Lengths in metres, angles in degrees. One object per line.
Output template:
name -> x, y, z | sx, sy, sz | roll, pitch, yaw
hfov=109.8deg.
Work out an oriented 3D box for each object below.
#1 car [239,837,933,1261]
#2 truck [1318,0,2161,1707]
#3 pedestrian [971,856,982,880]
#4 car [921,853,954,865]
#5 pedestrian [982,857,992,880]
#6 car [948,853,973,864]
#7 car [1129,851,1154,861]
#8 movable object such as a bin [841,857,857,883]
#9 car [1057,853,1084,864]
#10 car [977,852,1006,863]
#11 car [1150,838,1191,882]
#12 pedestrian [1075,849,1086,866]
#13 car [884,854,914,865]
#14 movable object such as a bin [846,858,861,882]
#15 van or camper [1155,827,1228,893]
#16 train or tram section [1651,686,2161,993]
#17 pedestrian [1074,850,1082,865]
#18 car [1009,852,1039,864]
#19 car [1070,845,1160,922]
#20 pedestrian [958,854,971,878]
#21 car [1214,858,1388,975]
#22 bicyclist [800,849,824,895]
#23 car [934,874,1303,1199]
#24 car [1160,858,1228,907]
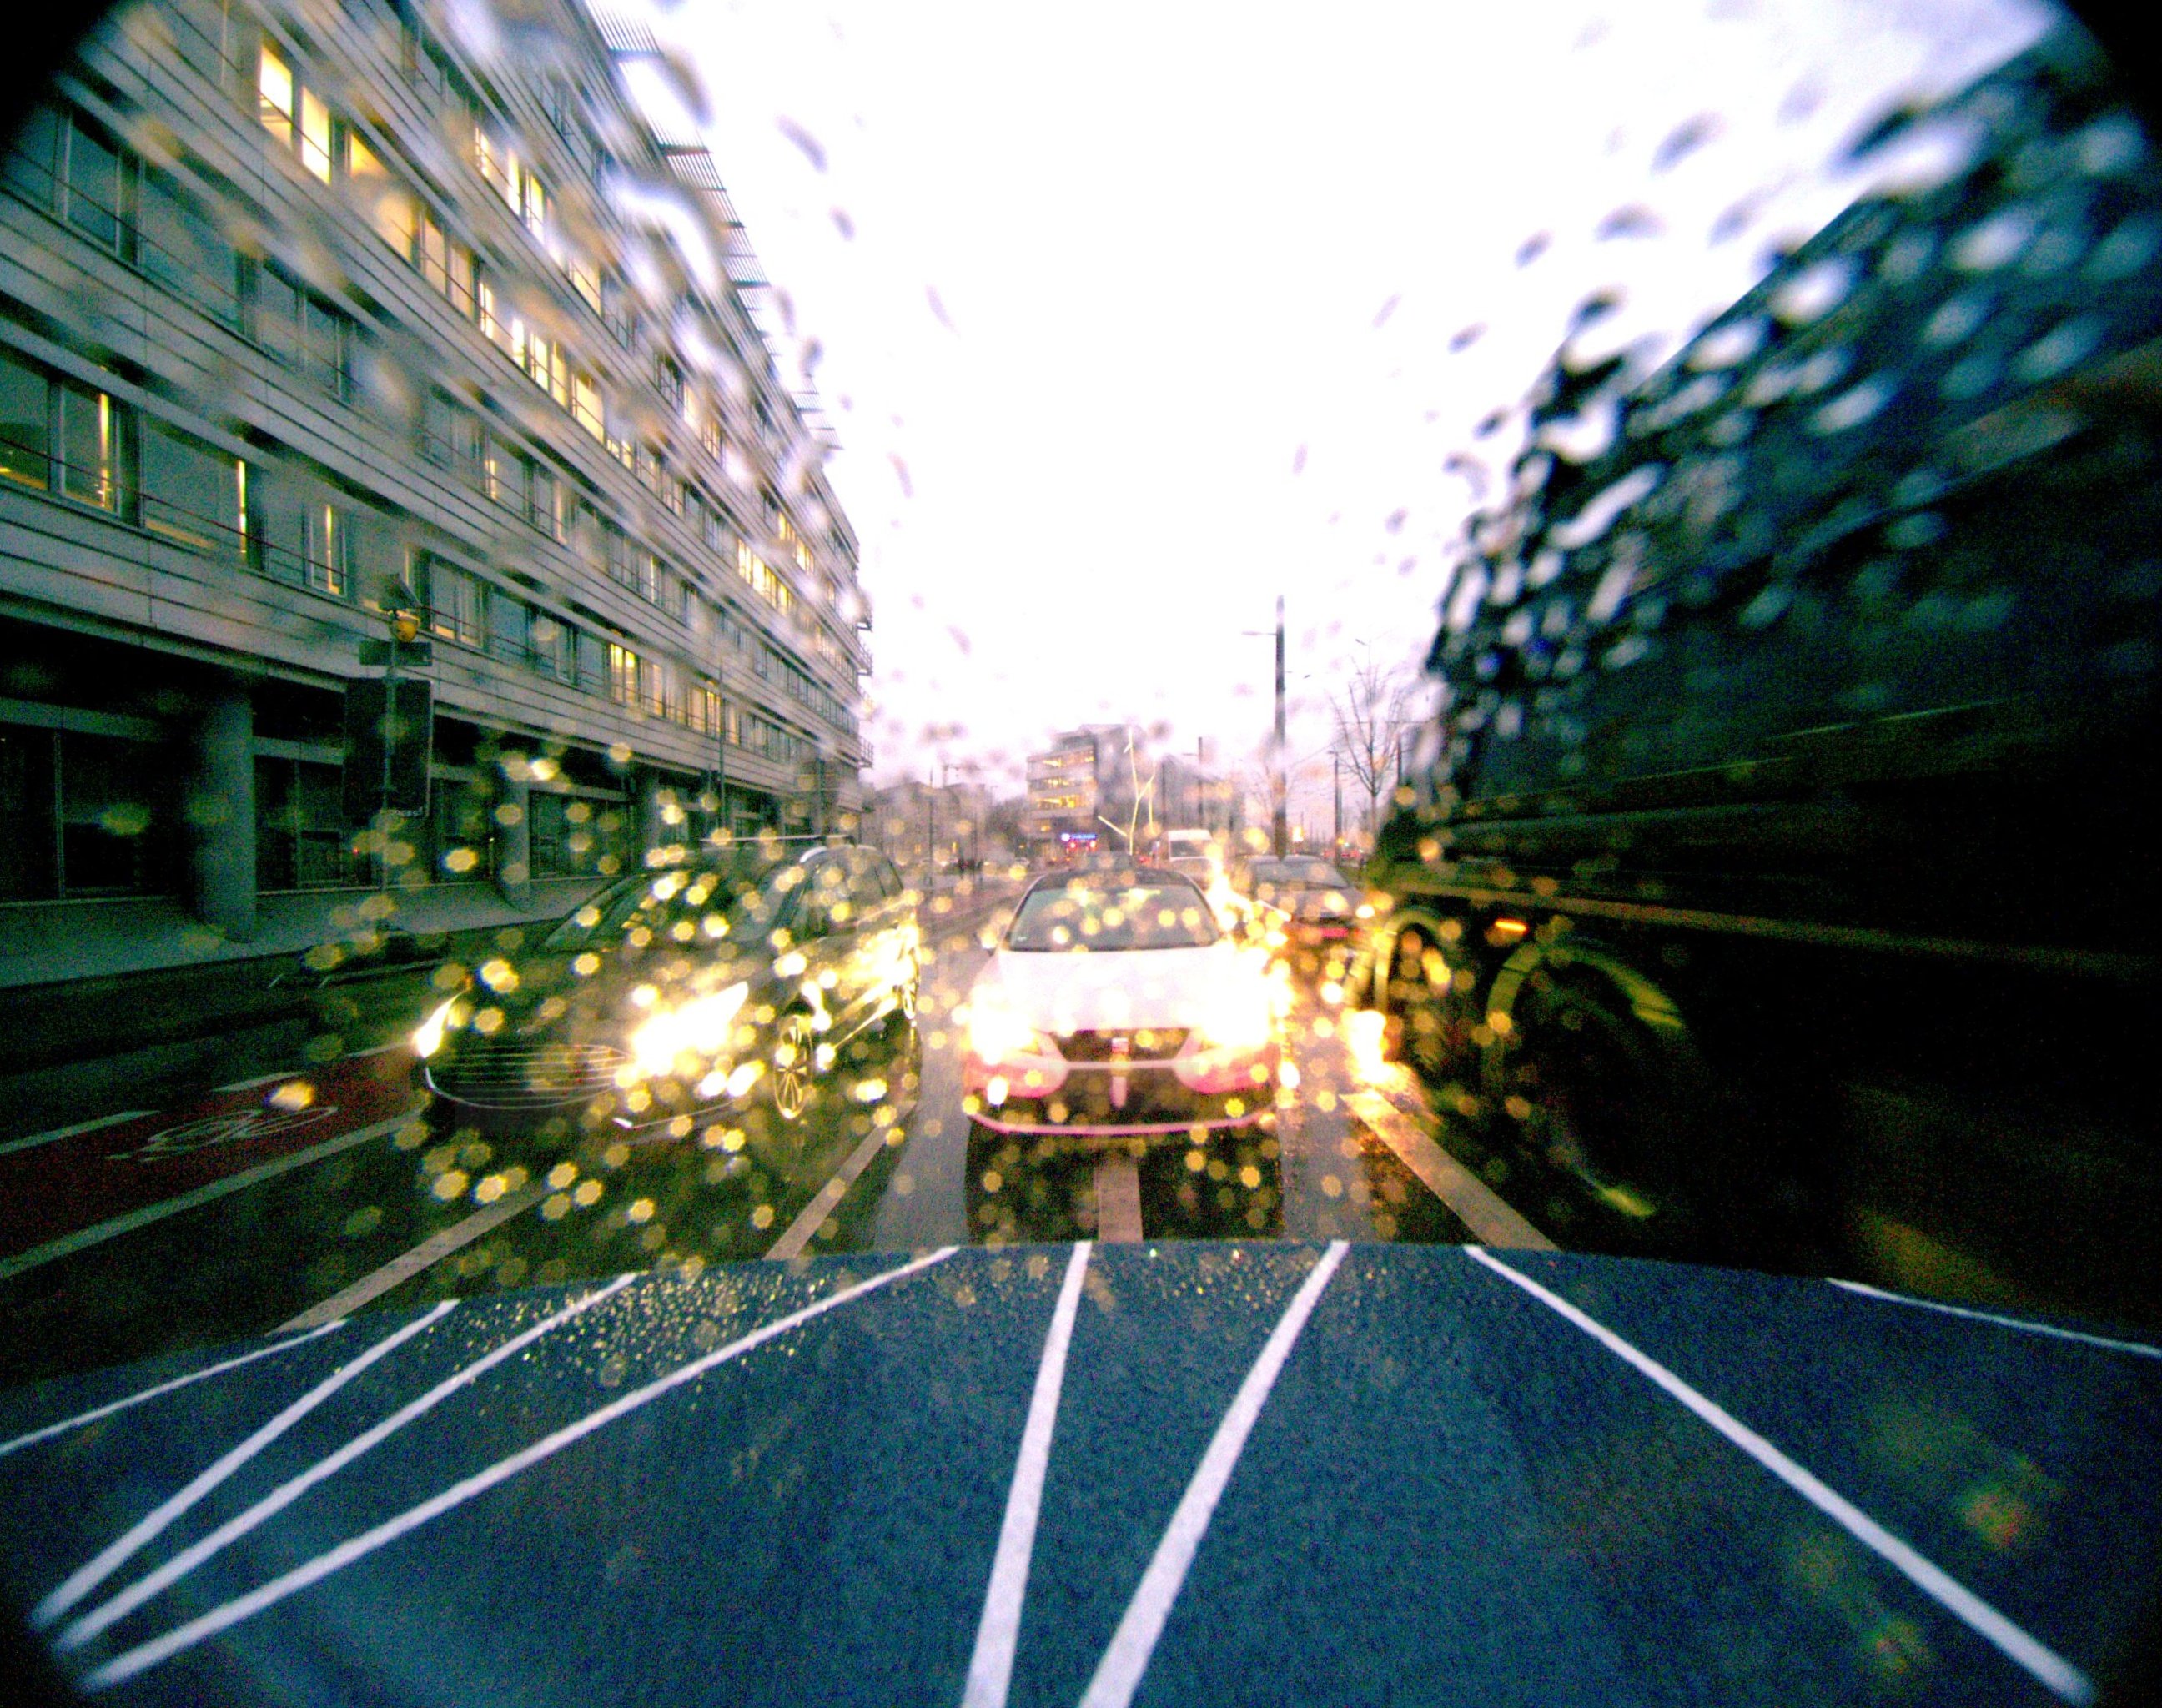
car -> -2.617, 0.850, 5.637 | 1.887, 1.800, 4.671 | -2, 0, 2
truck -> 3.085, -0.089, 1.507 | 2.846, 3.612, 7.526 | -1, 0, 0
pedestrian -> -7.598, 1.016, 55.138 | 0.651, 1.692, 0.884 | 1, 1, -3
car -> -21.414, 0.715, 113.729 | 4.368, 1.750, 2.002 | -1, 1, 17
pedestrian -> -6.820, 1.054, 55.201 | 0.616, 1.659, 0.884 | 1, 1, -3
car -> -20.239, 0.738, 127.523 | 3.726, 1.796, 1.796 | -1, 0, 15
car -> 9.431, 0.323, 118.652 | 1.906, 1.645, 4.019 | -1, 0, -34
movable object such as a bin -> -13.260, 0.911, 43.401 | 0.666, 1.420, 0.840 | -1, 1, -2
car -> -1.642, 0.694, 123.058 | 3.993, 1.782, 1.883 | -1, 1, 12
car -> -13.033, 0.562, 110.701 | 3.759, 1.528, 1.782 | 0, 0, 17
car -> 6.143, 0.386, 52.817 | 2.129, 2.847, 5.813 | -1, 0, -1
pedestrian -> -0.065, 0.413, 89.648 | 1.118, 2.002, 1.034 | 0, 1, 15
car -> -27.853, 0.838, 116.088 | 3.996, 1.663, 2.002 | -1, 1, 17
movable object such as a bin -> -13.256, 0.925, 44.298 | 0.666, 1.420, 0.840 | -1, 1, -2
van or camper -> 4.518, 0.214, 32.041 | 2.153, 2.517, 5.898 | -1, 0, 0
train or tram section -> 14.161, -0.164, 6.546 | 2.872, 3.593, 20.065 | 0, 0, -2
pedestrian -> -0.398, 0.448, 94.765 | 0.892, 1.783, 0.668 | 0, 1, 4
car -> -8.147, 0.533, 109.509 | 3.918, 1.699, 1.782 | -1, 1, 15
car -> 0.826, 0.698, 20.663 | 2.169, 1.744, 4.540 | 0, 2, 0
pedestrian -> -8.559, 0.855, 55.778 | 0.747, 1.692, 0.969 | 2, 1, -3
car -> 3.271, 0.839, 12.060 | 1.634, 1.514, 3.941 | 0, 0, 0
bicyclist -> -10.715, 0.707, 30.306 | 0.671, 1.788, 0.806 | -1, 1, -3
car -> 0.210, 0.948, 5.688 | 1.782, 1.464, 3.943 | -1, 0, 1
car -> 3.549, 0.855, 24.417 | 1.759, 1.337, 4.057 | -1, 1, 3
